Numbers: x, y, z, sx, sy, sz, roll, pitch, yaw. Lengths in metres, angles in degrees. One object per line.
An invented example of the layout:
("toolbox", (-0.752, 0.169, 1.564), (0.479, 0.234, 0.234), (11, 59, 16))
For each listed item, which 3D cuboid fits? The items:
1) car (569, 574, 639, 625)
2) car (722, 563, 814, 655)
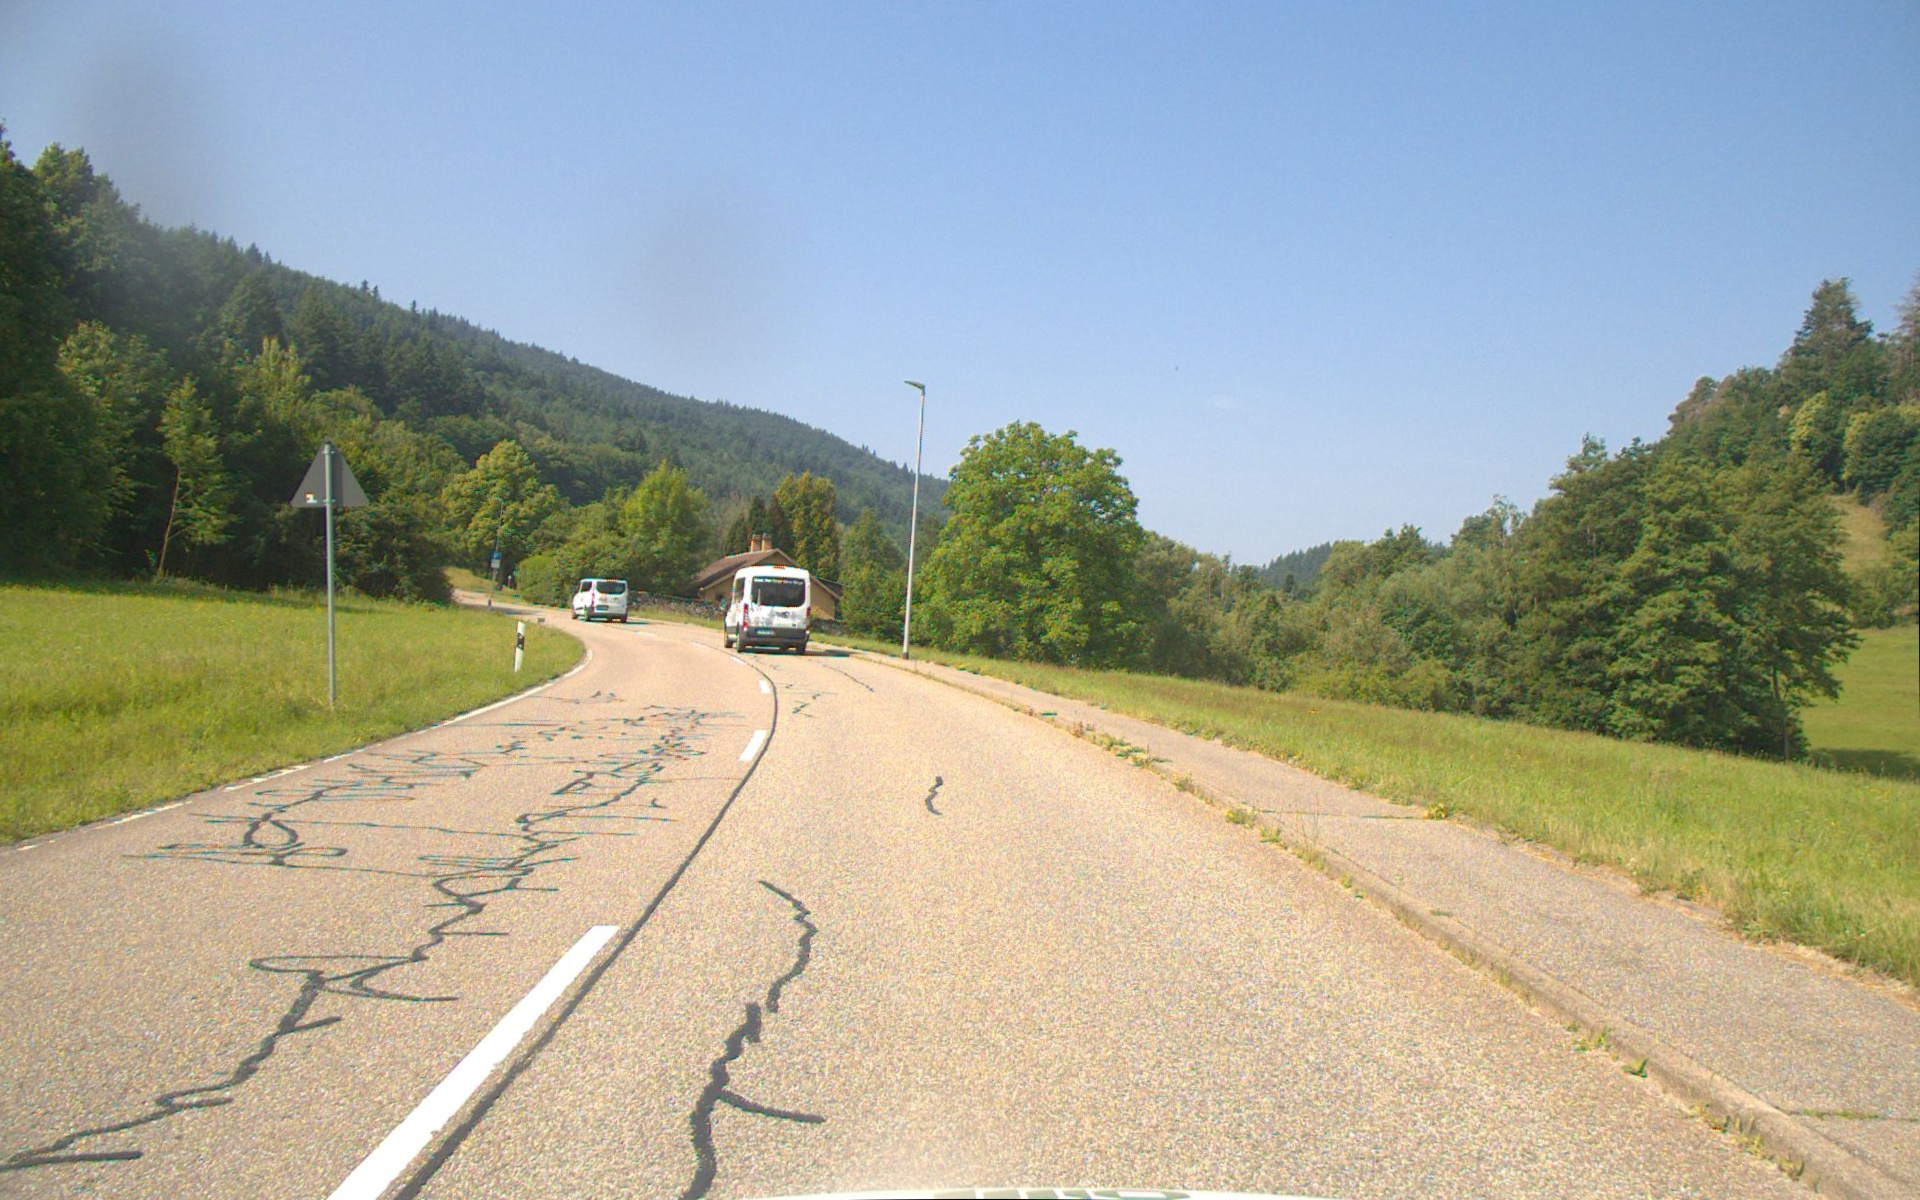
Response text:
("car", (-17.130, -0.013, 79.415), (2.195, 2.327, 4.944), (-1, 0, -25))
("car", (-5.766, 0.257, 49.144), (2.184, 2.570, 4.968), (-1, 0, -13))
